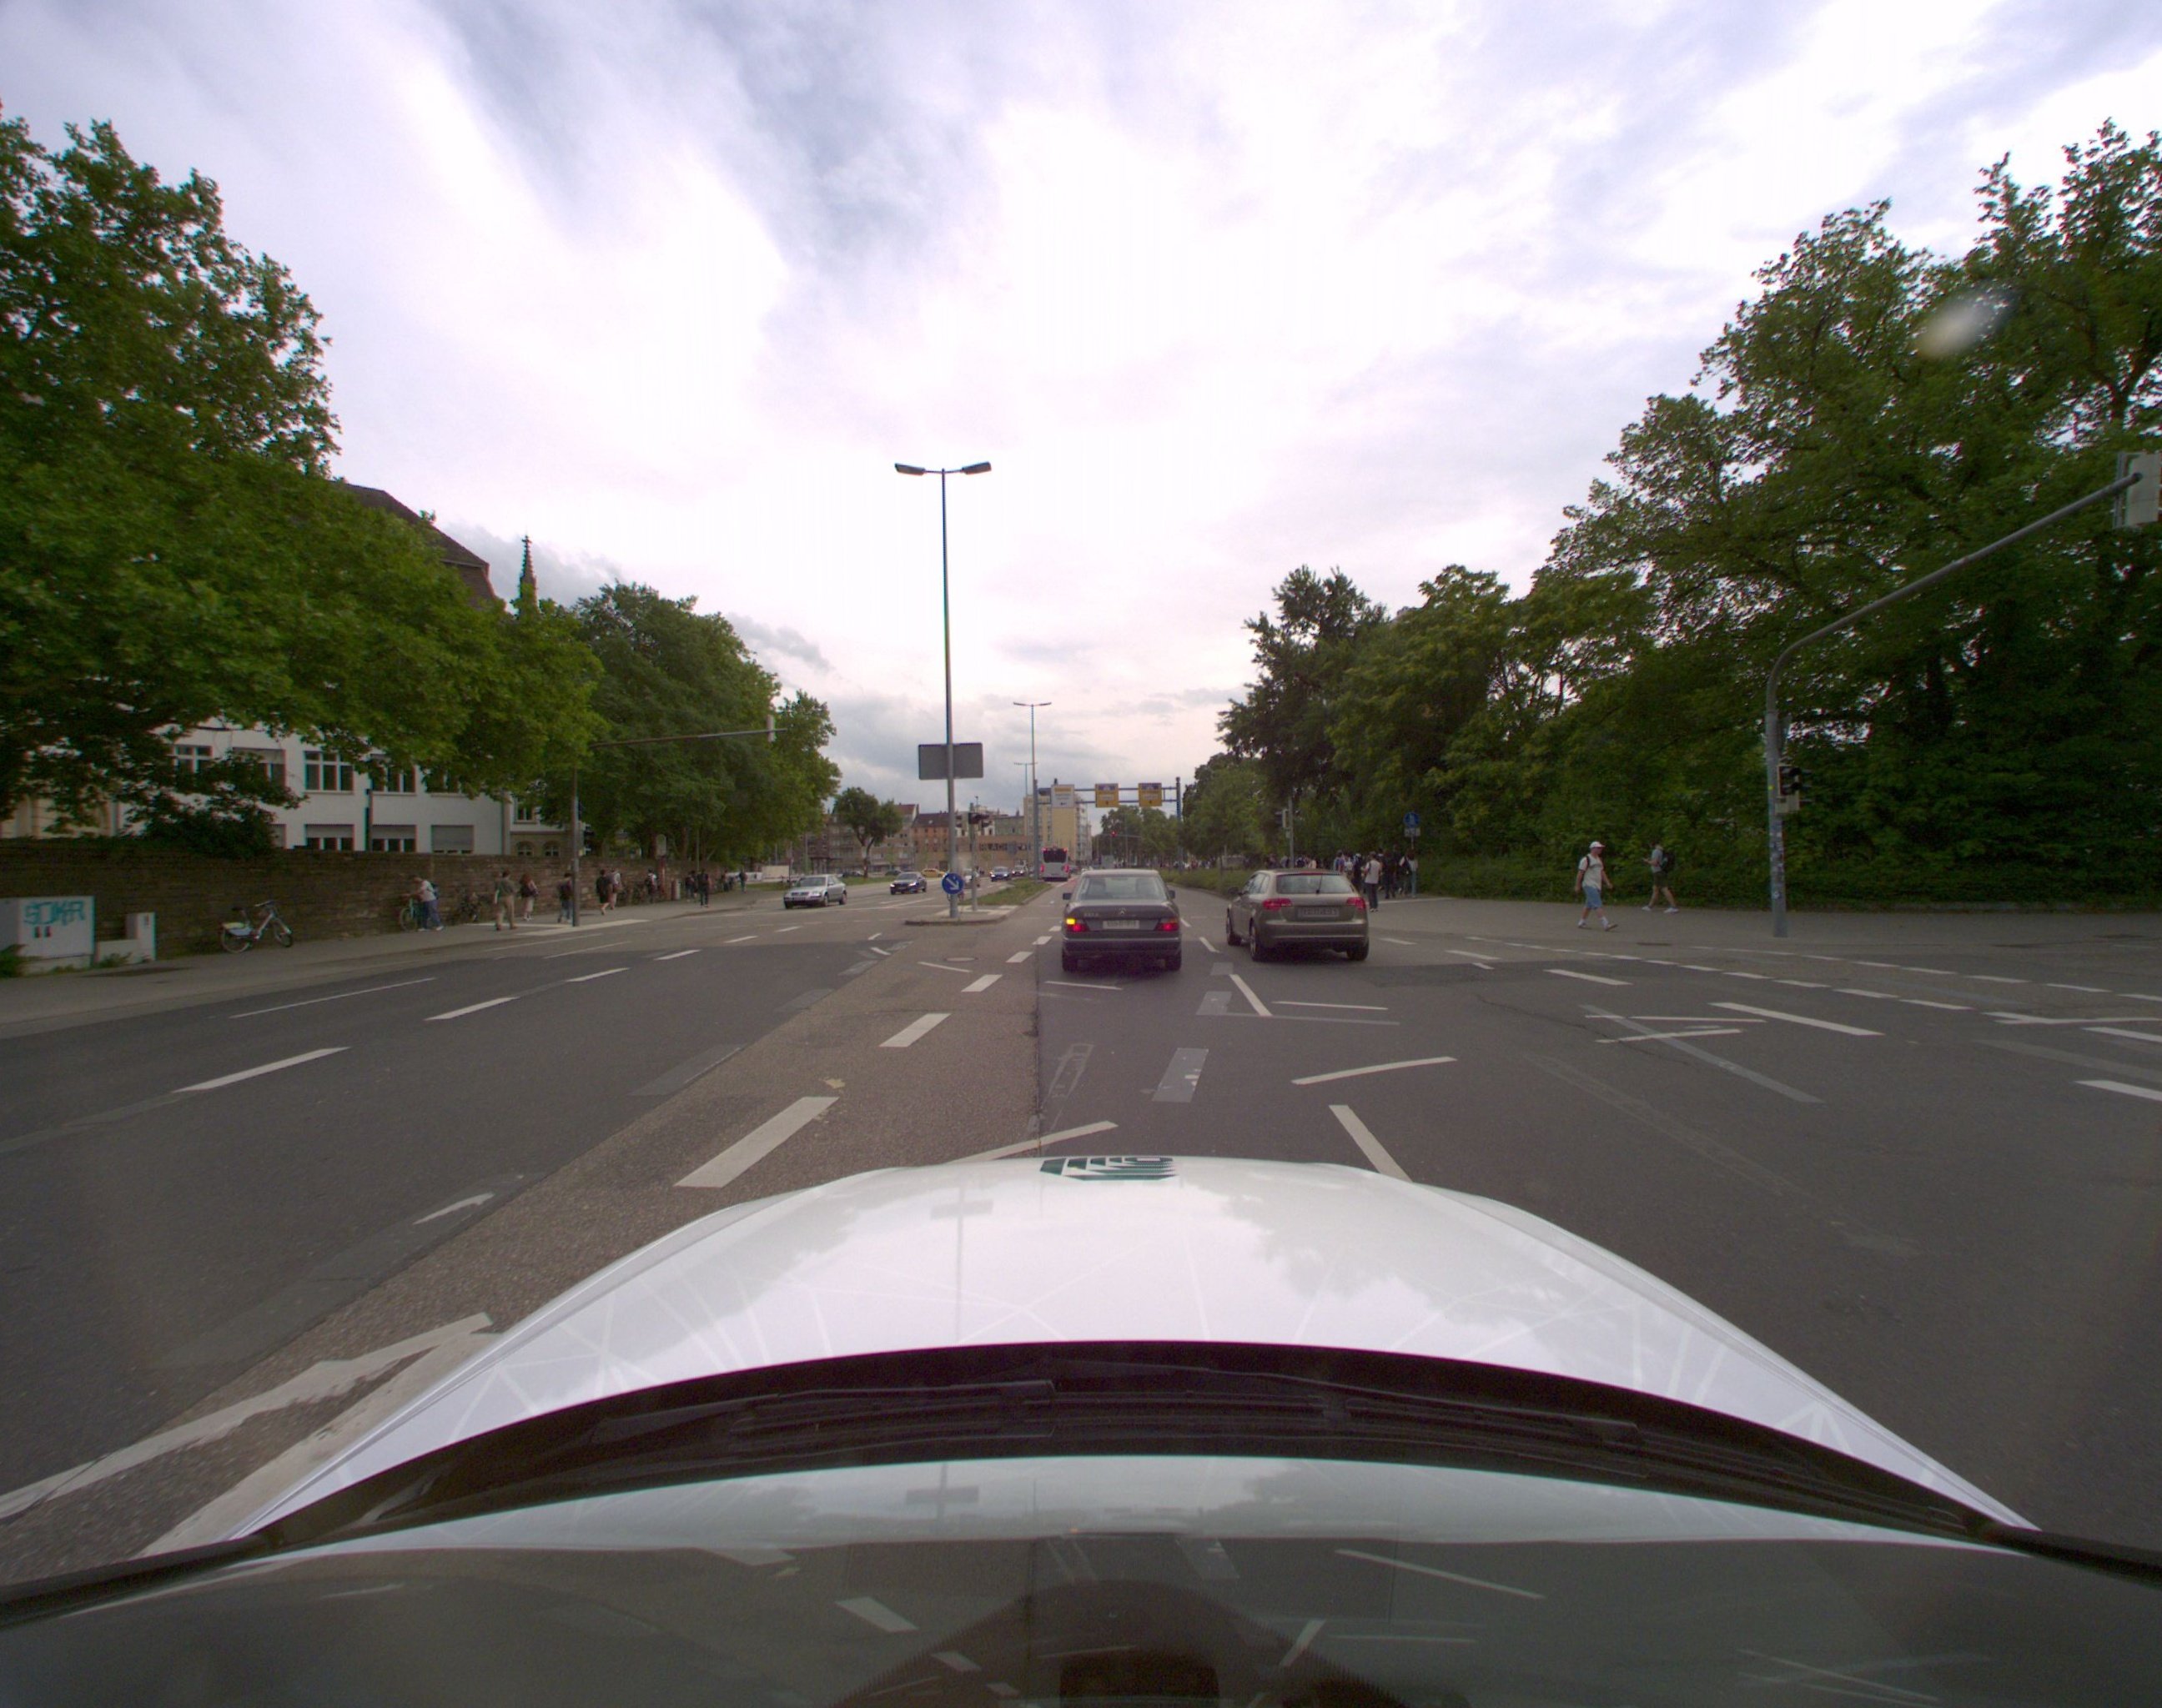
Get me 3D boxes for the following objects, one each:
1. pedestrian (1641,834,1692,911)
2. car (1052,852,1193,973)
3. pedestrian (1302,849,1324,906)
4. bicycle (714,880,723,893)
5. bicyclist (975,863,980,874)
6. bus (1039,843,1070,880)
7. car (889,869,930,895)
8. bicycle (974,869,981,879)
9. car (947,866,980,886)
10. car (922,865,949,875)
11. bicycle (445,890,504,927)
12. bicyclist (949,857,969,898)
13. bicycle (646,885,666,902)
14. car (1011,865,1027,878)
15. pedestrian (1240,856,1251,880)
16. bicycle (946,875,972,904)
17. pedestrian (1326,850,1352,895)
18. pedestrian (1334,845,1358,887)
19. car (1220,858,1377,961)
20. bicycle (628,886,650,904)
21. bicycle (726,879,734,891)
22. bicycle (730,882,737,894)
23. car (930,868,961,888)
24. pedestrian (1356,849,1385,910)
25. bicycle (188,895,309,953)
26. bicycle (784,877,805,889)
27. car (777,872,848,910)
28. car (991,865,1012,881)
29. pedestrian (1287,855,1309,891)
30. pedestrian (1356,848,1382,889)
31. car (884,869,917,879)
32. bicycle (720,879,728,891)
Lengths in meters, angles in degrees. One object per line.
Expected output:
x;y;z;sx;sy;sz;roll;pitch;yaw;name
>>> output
14.016;0.427;19.515;0.643;1.795;0.739;-1;-1;-2;pedestrian
0.555;0.759;12.421;1.755;1.489;4.171;-1;-1;1;car
7.289;0.736;25.620;0.453;1.735;0.636;-1;-1;-2;pedestrian
-25.892;2.322;58.189;0.417;0.878;1.546;1;-2;-17;bicycle
-13.133;1.870;103.190;0.578;1.419;0.810;-1;-1;-1;bicyclist
-2.560;0.755;79.947;2.823;3.390;8.177;-1;-1;-1;bus
-11.908;1.919;56.830;1.892;1.616;4.741;-1;-1;-2;car
-13.120;2.506;103.170;0.580;1.170;1.963;-1;-1;-1;bicycle
-8.990;1.664;62.625;1.795;1.489;4.288;-1;-1;0;car
-22.426;2.512;125.429;3.850;1.517;1.657;0;-1;-5;car
-19.566;1.734;26.328;0.548;1.058;1.976;2;-1;-6;bicycle
-4.756;0.908;31.799;0.569;1.574;0.700;-1;-1;4;bicyclist
-22.007;2.046;42.178;0.440;0.797;1.616;1;0;-9;bicycle
-7.808;2.146;102.256;1.566;1.489;3.638;-3;-1;2;car
11.688;1.003;57.934;0.585;1.683;0.748;-2;-1;1;pedestrian
-4.746;1.370;31.818;0.570;1.055;1.928;-1;-1;4;bicycle
9.855;0.704;31.155;0.655;1.648;0.811;-2;-1;-2;pedestrian
10.839;0.495;33.325;0.655;1.689;0.841;-2;-1;-2;pedestrian
3.491;0.825;13.740;1.718;1.457;3.737;-1;-1;2;car
-21.671;1.992;39.944;0.440;0.797;1.616;1;0;-9;bicycle
-27.822;2.467;64.579;0.442;0.878;1.609;2;-2;-20;bicycle
-28.814;2.798;67.533;0.483;0.907;1.608;-1;-1;-22;bicycle
-11.691;2.038;70.549;1.858;1.652;4.422;-1;-1;0;car
8.238;0.719;23.154;0.544;1.687;0.636;-1;-1;-2;pedestrian
-18.572;1.540;18.250;0.576;1.126;2.162;2;-1;-4;bicycle
-22.194;2.242;63.047;0.467;0.919;2.344;-1;-1;8;bicycle
-11.729;1.562;35.924;1.757;1.489;4.541;-1;-1;-2;car
-8.096;1.934;83.096;1.796;1.511;4.102;-1;-2;0;car
10.005;0.864;37.520;0.773;1.602;0.812;-2;-1;0;pedestrian
11.790;0.588;33.361;0.655;1.667;0.970;-2;-1;-2;pedestrian
-27.618;3.015;124.794;4.661;1.476;1.657;0;-1;-5;car
-26.442;2.271;60.368;0.347;0.878;1.513;1;-2;-17;bicycle
